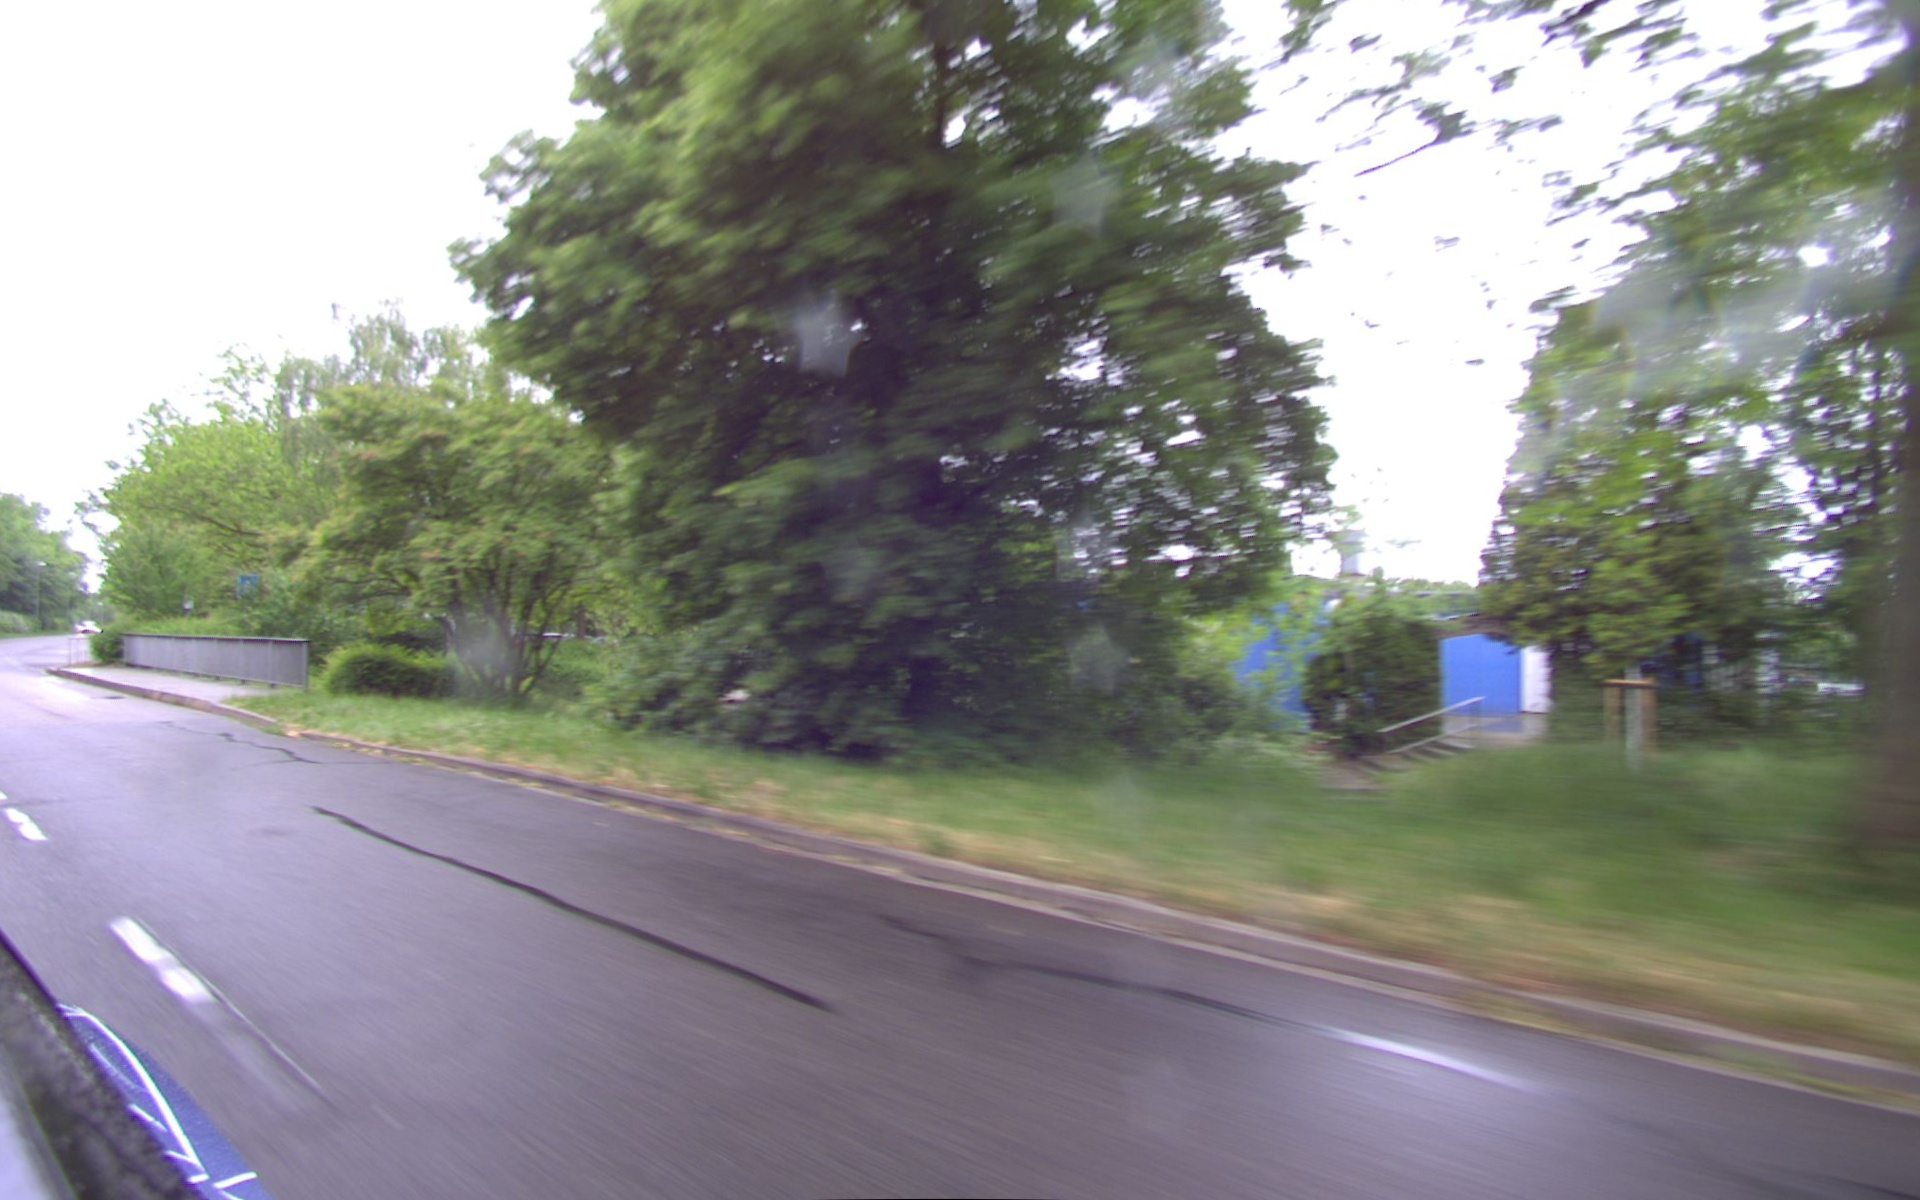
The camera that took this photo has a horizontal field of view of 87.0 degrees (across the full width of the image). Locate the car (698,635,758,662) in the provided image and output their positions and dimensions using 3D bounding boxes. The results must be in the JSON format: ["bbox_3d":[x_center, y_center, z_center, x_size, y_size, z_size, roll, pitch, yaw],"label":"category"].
[{"bbox_3d":[-18.685,3.878,81.293,4.892,2.029,2.323,-3,-2,43],"label":"car"}]

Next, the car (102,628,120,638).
[{"bbox_3d":[-126.654,4.954,150.984,1.802,1.476,4.009,3,-3,-37],"label":"car"}]
